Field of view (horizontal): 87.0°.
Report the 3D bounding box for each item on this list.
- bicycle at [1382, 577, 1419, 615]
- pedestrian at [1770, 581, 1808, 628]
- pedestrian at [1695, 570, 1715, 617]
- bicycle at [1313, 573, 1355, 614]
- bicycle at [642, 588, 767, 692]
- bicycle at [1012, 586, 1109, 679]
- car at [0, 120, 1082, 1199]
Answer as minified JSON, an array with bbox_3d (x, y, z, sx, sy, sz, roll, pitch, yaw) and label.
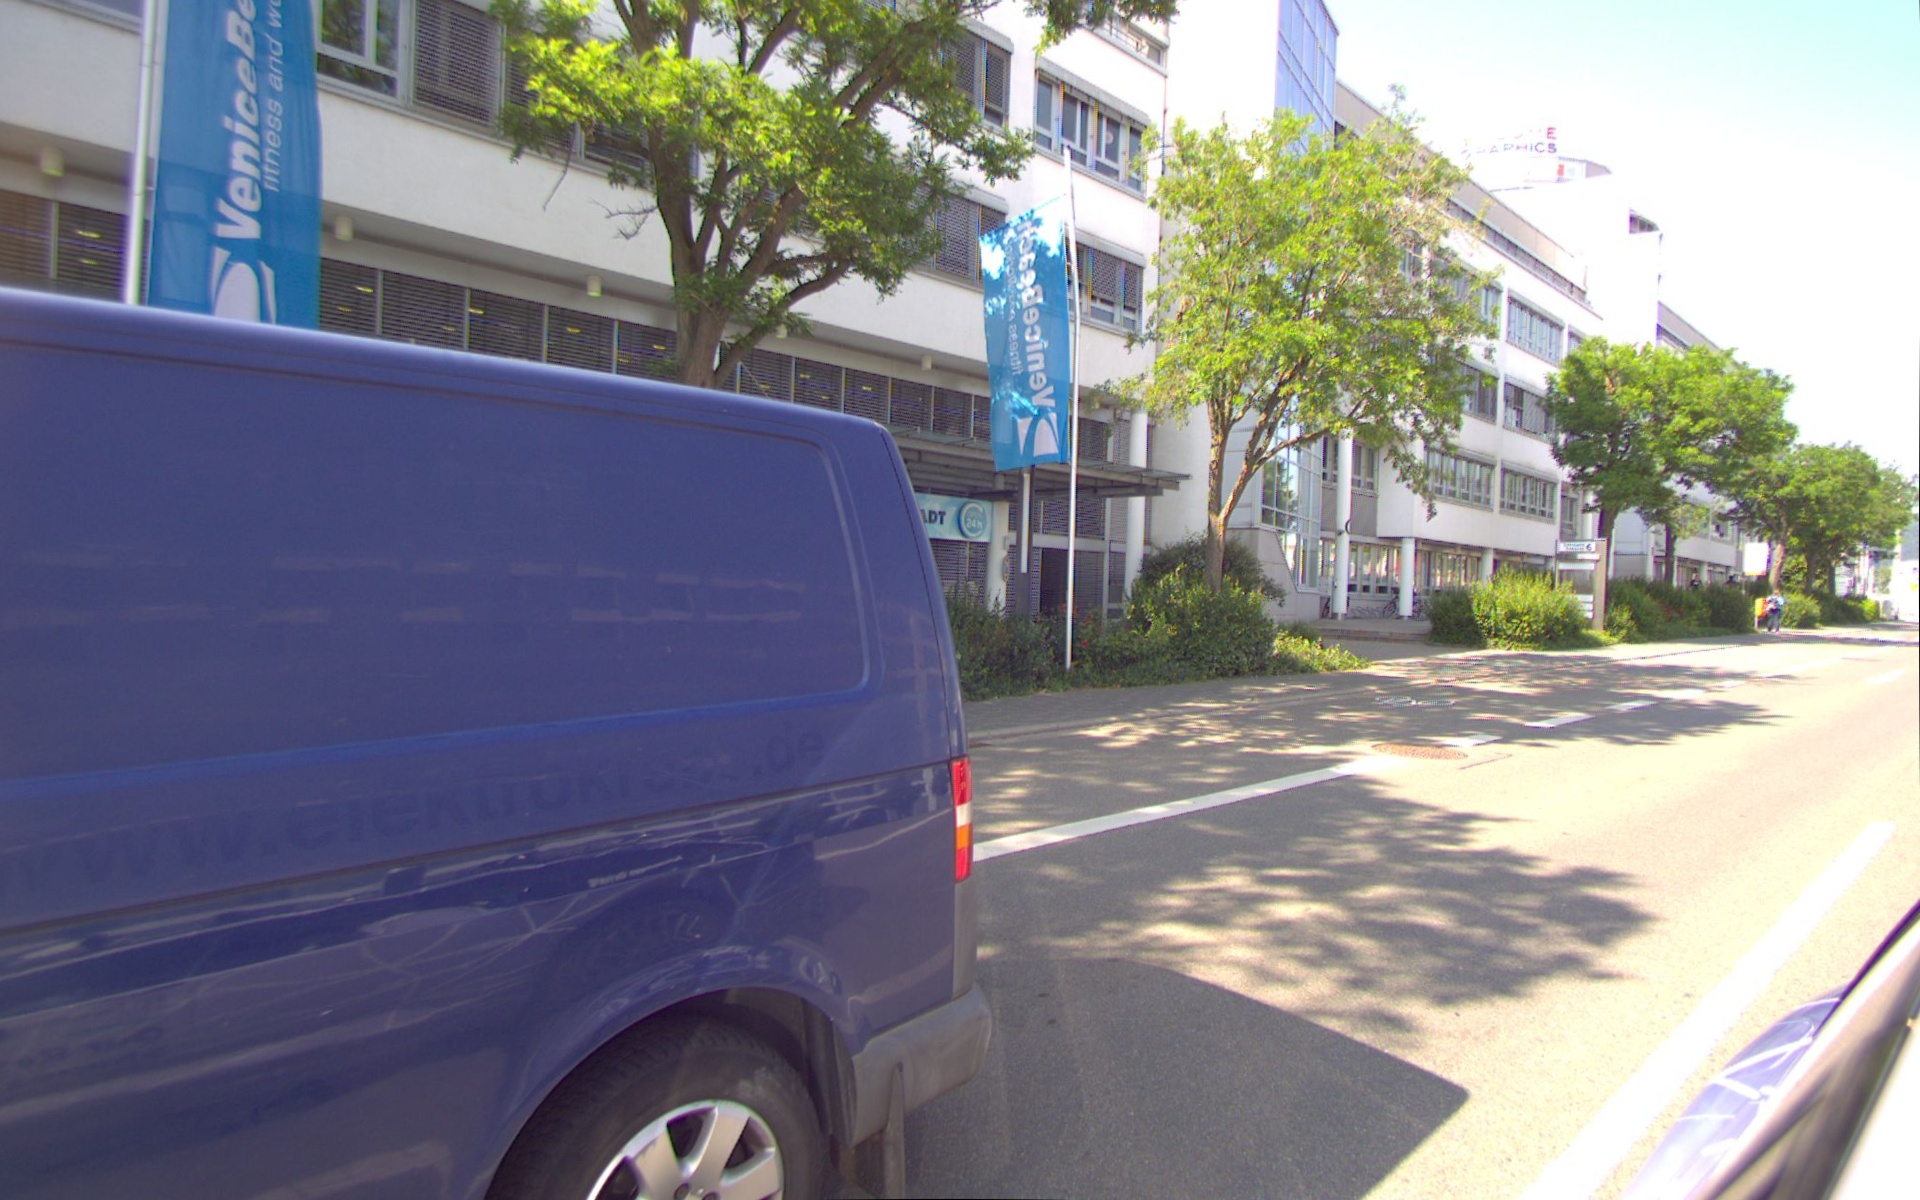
[{"bbox_3d":[16.332,-0.149,37.512,1.852,1.371,0.506,0,1,-41],"label":"bicycle"},{"bbox_3d":[35.172,0.169,42.957,1.267,1.909,0.942,0,4,-41],"label":"pedestrian"},{"bbox_3d":[41.275,-0.370,56.090,0.704,2.581,0.716,0,1,-43],"label":"pedestrian"},{"bbox_3d":[12.892,-0.217,34.888,1.852,1.371,0.506,0,1,-41],"label":"bicycle"},{"bbox_3d":[-3.643,0.533,14.374,1.868,1.346,0.501,2,1,30],"label":"bicycle"},{"bbox_3d":[1.585,0.475,15.713,0.504,1.346,1.856,2,1,41],"label":"bicycle"},{"bbox_3d":[-2.174,0.406,1.596,4.806,1.972,1.997,-1,2,-41],"label":"car"}]
